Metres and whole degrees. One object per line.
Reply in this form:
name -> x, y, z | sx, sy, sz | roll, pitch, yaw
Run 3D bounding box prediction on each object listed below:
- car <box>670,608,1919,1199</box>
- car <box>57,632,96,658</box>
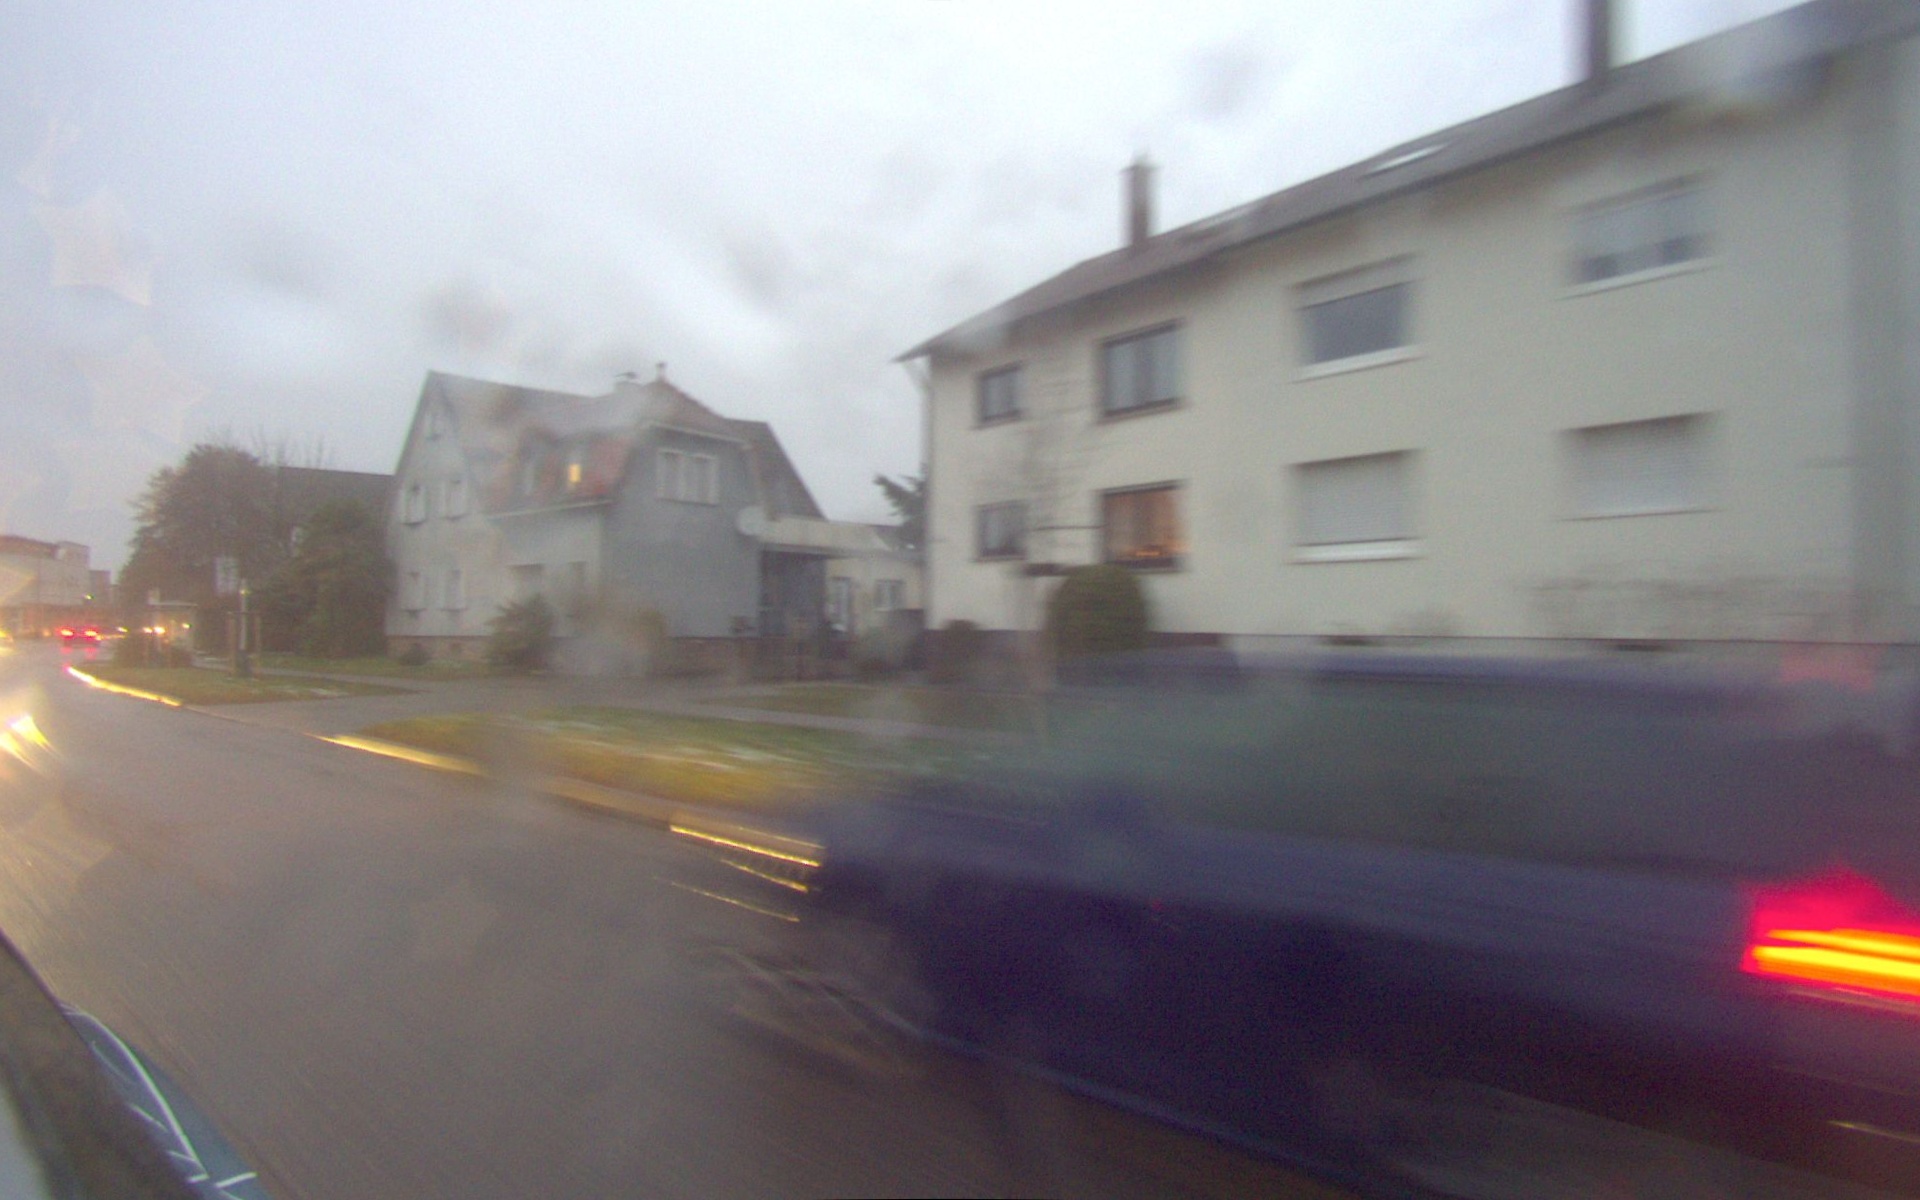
car -> 0.973, 0.804, 3.165 | 3.998, 1.452, 1.686 | -1, -4, 41
car -> -61.674, 3.123, 70.681 | 1.938, 1.711, 4.007 | 0, -1, -39
